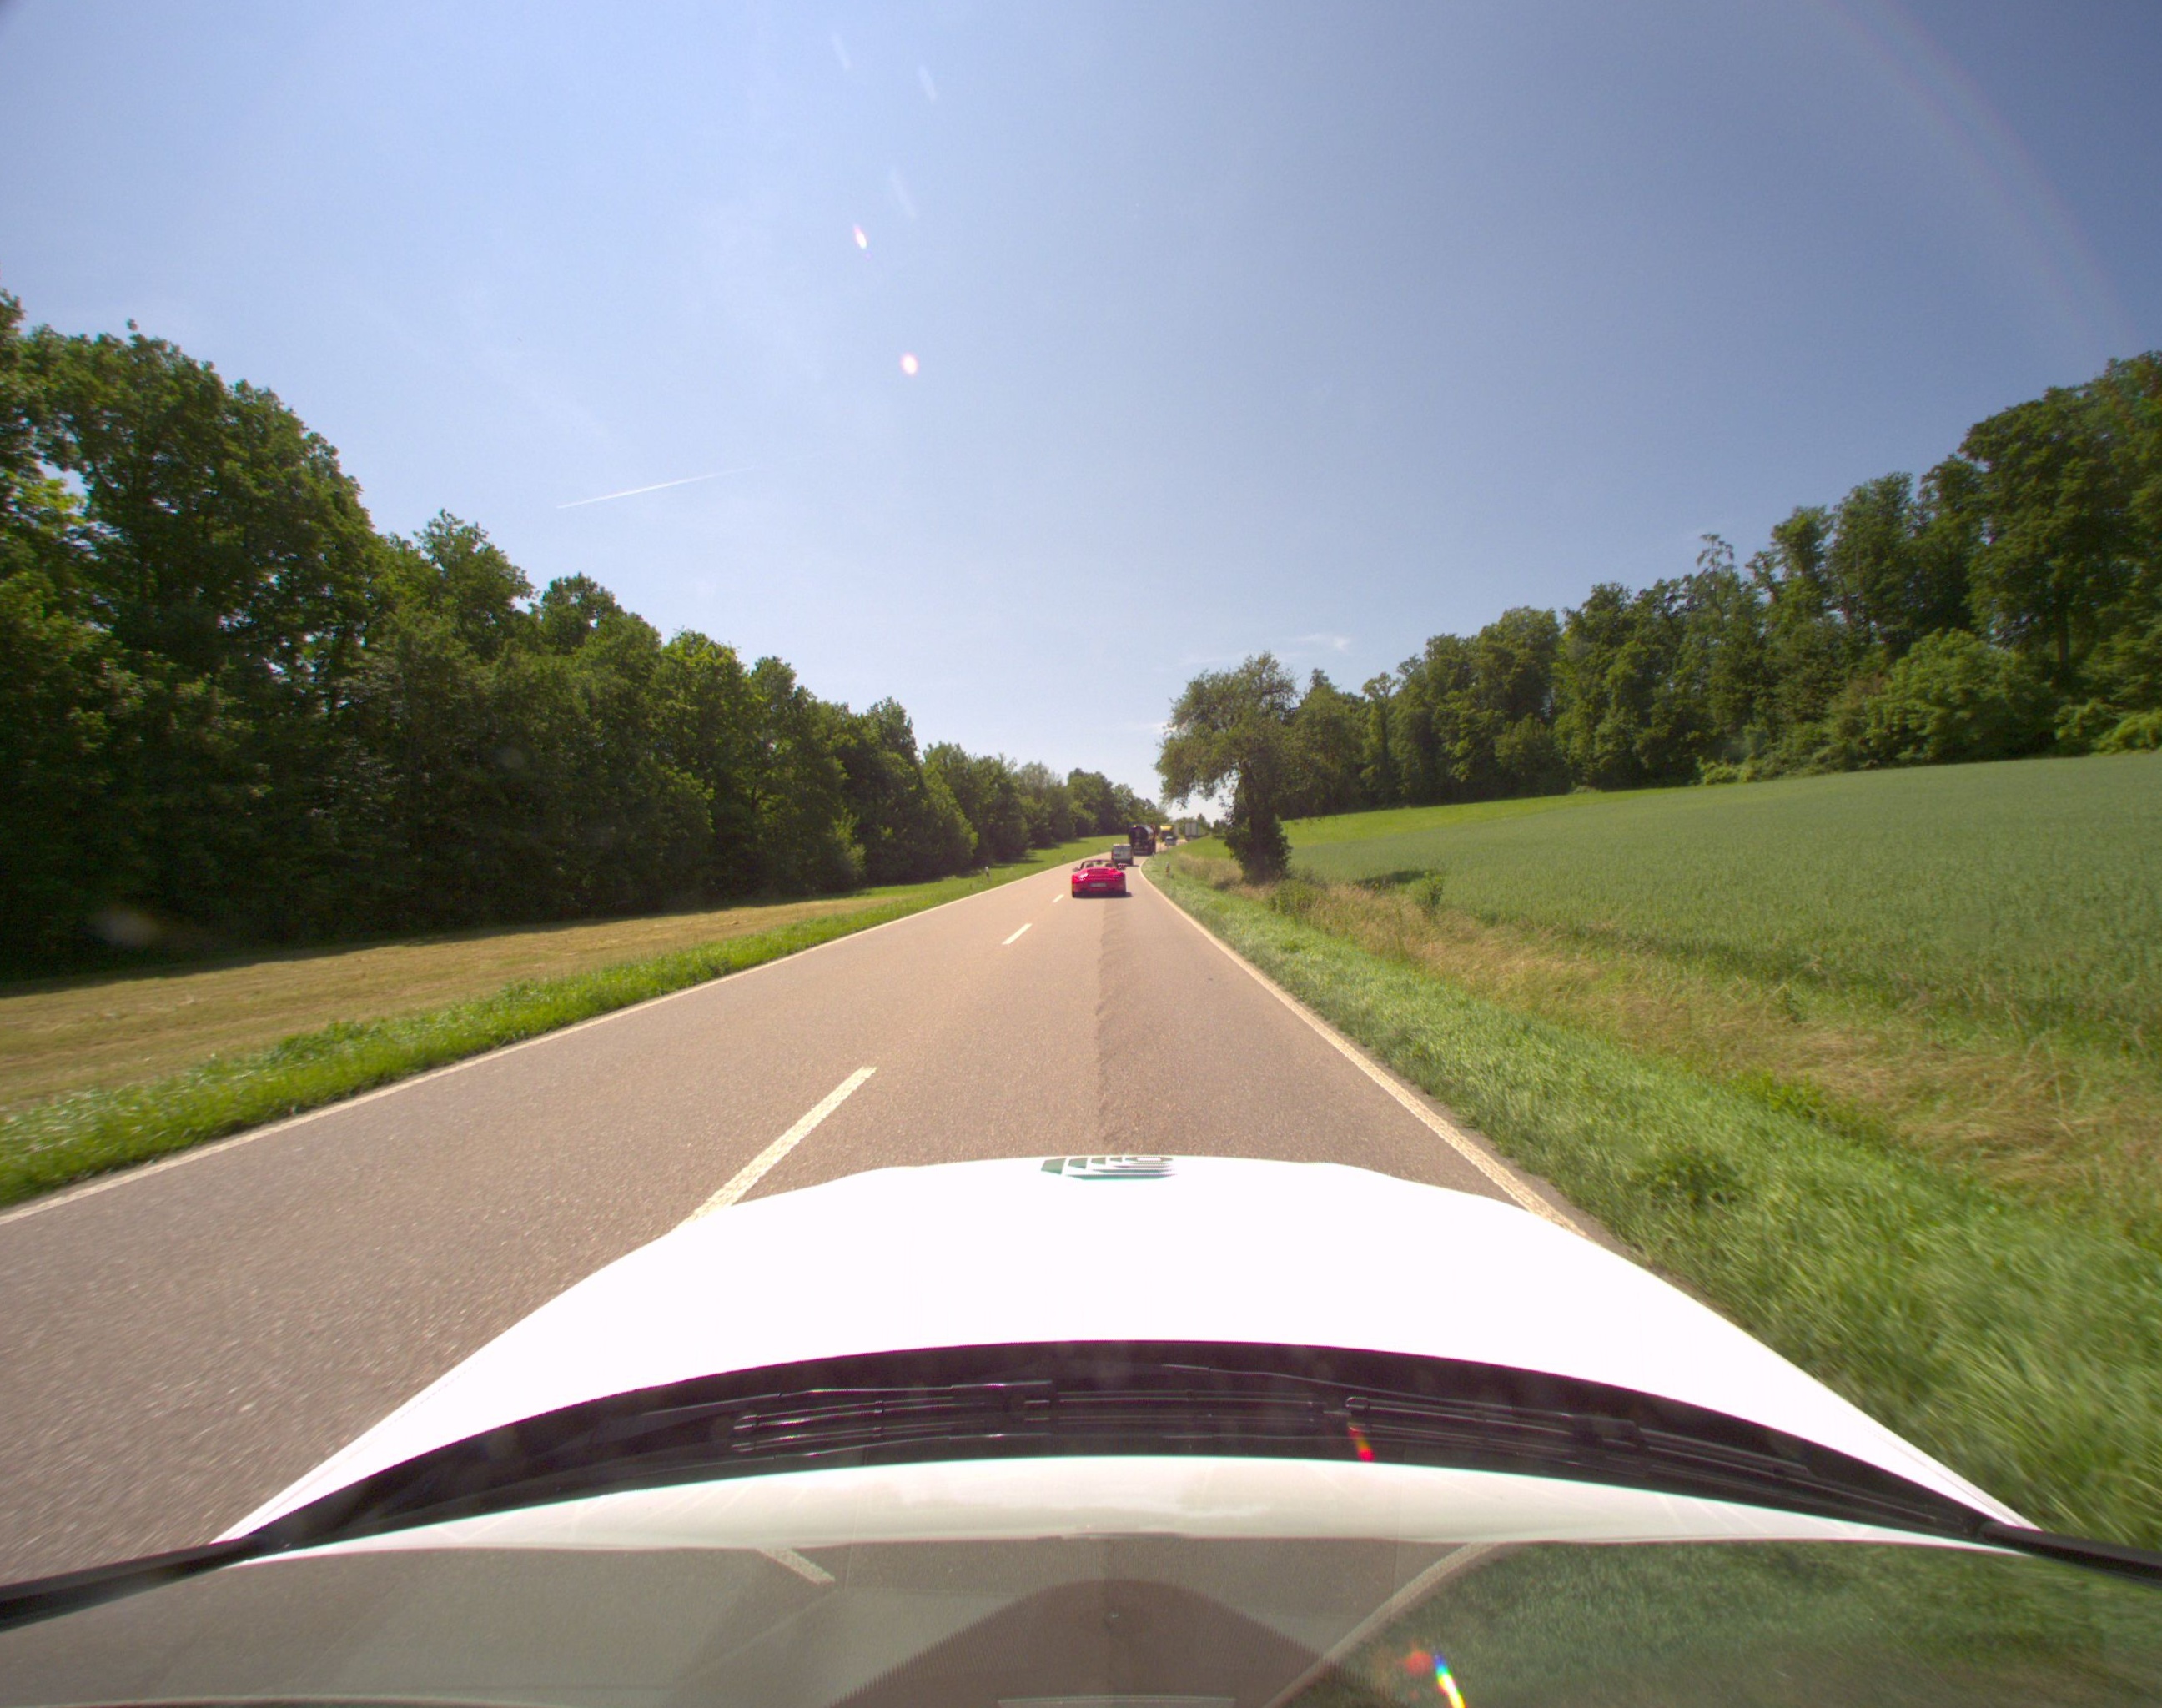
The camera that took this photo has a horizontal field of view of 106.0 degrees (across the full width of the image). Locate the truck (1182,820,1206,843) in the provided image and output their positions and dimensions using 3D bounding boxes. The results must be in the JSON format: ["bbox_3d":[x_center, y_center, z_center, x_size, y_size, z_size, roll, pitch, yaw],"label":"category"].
[{"bbox_3d":[24.354,-4.865,174.314,3.698,4.659,12.079,-1,2,14],"label":"truck"}]

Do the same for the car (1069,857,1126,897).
[{"bbox_3d":[0.592,0.775,28.841,1.876,1.255,4.011,-1,0,1],"label":"car"}]

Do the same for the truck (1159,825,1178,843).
[{"bbox_3d":[17.795,-4.027,165.107,2.711,3.690,8.577,-1,1,13],"label":"truck"}]

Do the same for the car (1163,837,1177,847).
[{"bbox_3d":[15.546,-2.141,142.079,1.818,1.513,4.206,-1,2,13],"label":"car"}]

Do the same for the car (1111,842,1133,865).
[{"bbox_3d":[3.659,-0.044,72.372,1.670,1.900,4.016,-1,0,5],"label":"car"}]

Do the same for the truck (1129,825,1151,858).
[{"bbox_3d":[7.847,-1.645,107.010,2.391,4.049,12.573,-1,0,7],"label":"truck"}]
